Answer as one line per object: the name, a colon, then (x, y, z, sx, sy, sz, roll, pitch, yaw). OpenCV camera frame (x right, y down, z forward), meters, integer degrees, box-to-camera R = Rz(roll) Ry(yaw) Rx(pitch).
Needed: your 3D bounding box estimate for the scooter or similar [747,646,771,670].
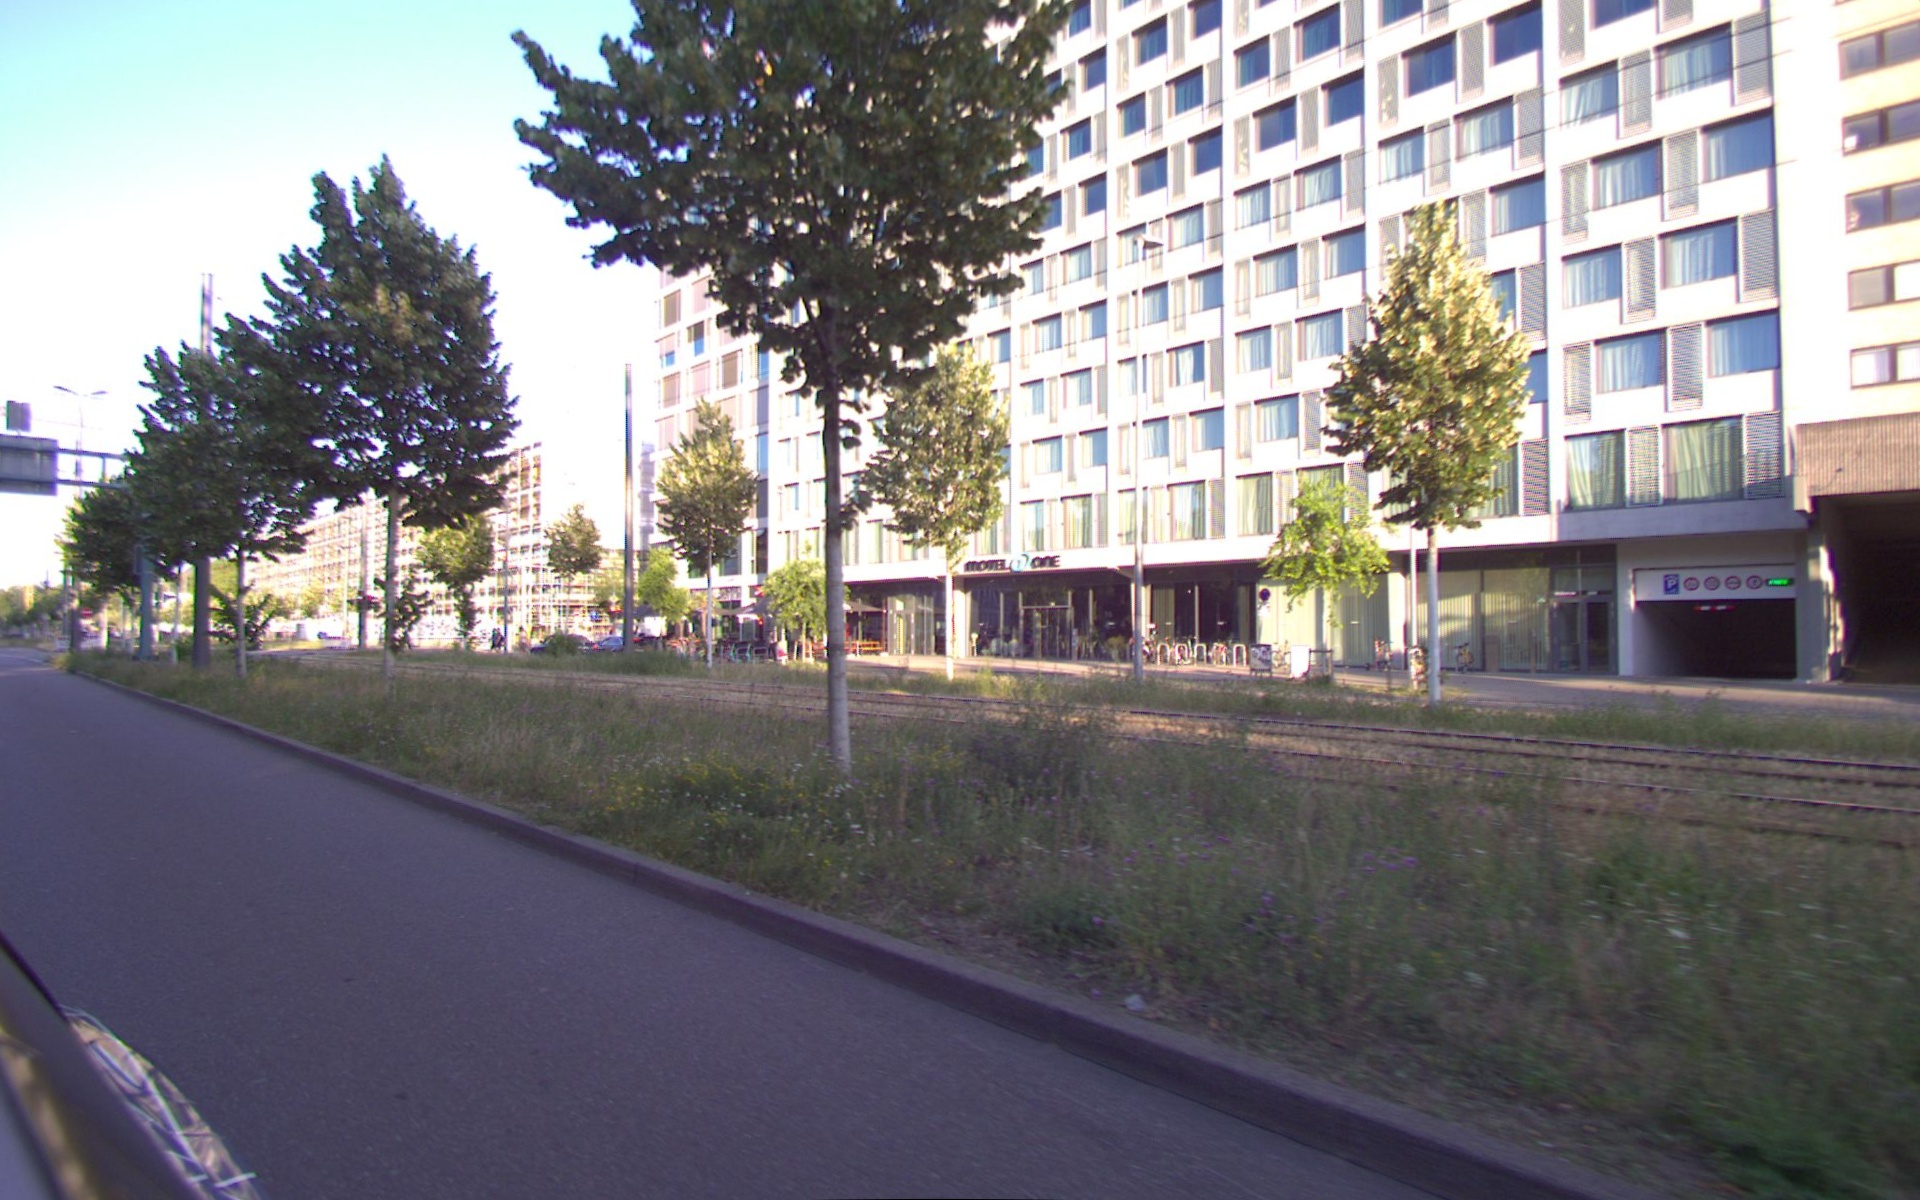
scooter or similar: (-10.205, 2.939, 51.426, 1.168, 1.066, 0.338, -4, 0, -44)

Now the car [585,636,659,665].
car: (-17.326, 2.565, 51.794, 4.225, 1.451, 1.864, -2, -3, 44)

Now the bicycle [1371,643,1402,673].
bicycle: (14.927, 2.009, 35.400, 0.421, 1.028, 1.768, -2, -3, 41)

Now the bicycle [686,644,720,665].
bicycle: (-14.168, 2.999, 55.830, 0.443, 1.067, 1.888, -2, -2, 42)

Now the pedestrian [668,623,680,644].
pedestrian: (-20.723, 2.445, 73.320, 0.597, 1.474, 0.773, 2, -3, -45)

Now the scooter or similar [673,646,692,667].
scooter or similar: (-15.846, 3.212, 57.824, 0.961, 1.093, 0.338, -2, 2, -44)

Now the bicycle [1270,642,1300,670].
bicycle: (12.370, 2.129, 38.490, 0.421, 1.028, 1.768, -2, -3, 41)

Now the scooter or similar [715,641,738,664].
scooter or similar: (-12.456, 2.780, 53.975, 1.168, 1.227, 0.338, 2, -3, -44)

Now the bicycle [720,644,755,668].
bicycle: (-11.749, 2.961, 53.504, 0.443, 1.208, 1.888, -2, -2, 42)

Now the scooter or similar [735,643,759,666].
scooter or similar: (-11.077, 2.827, 52.639, 1.168, 1.172, 0.338, 3, -3, -44)

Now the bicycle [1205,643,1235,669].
bicycle: (10.381, 2.221, 40.344, 0.421, 1.028, 1.724, -2, -3, 41)

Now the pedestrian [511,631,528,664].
pedestrian: (-25.950, 2.788, 59.663, 0.671, 1.938, 0.709, -1, -1, -43)

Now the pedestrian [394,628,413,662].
pedestrian: (-31.673, 2.552, 57.595, 0.763, 1.850, 0.698, -2, -1, 44)

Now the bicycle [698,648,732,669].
bicycle: (-13.260, 3.144, 54.787, 0.443, 1.067, 1.888, -2, -2, 42)

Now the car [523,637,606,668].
car: (-19.520, 2.587, 49.847, 1.992, 1.452, 4.804, 4, -5, -45)

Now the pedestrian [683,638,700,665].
pedestrian: (-16.401, 3.162, 61.743, 0.704, 1.616, 0.675, -2, -1, 24)

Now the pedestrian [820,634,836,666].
pedestrian: (-6.680, 2.527, 51.268, 0.491, 1.612, 0.604, -1, -1, -43)

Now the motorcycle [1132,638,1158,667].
motorcycle: (7.906, 2.247, 43.217, 0.514, 1.180, 1.878, -1, -2, 30)
